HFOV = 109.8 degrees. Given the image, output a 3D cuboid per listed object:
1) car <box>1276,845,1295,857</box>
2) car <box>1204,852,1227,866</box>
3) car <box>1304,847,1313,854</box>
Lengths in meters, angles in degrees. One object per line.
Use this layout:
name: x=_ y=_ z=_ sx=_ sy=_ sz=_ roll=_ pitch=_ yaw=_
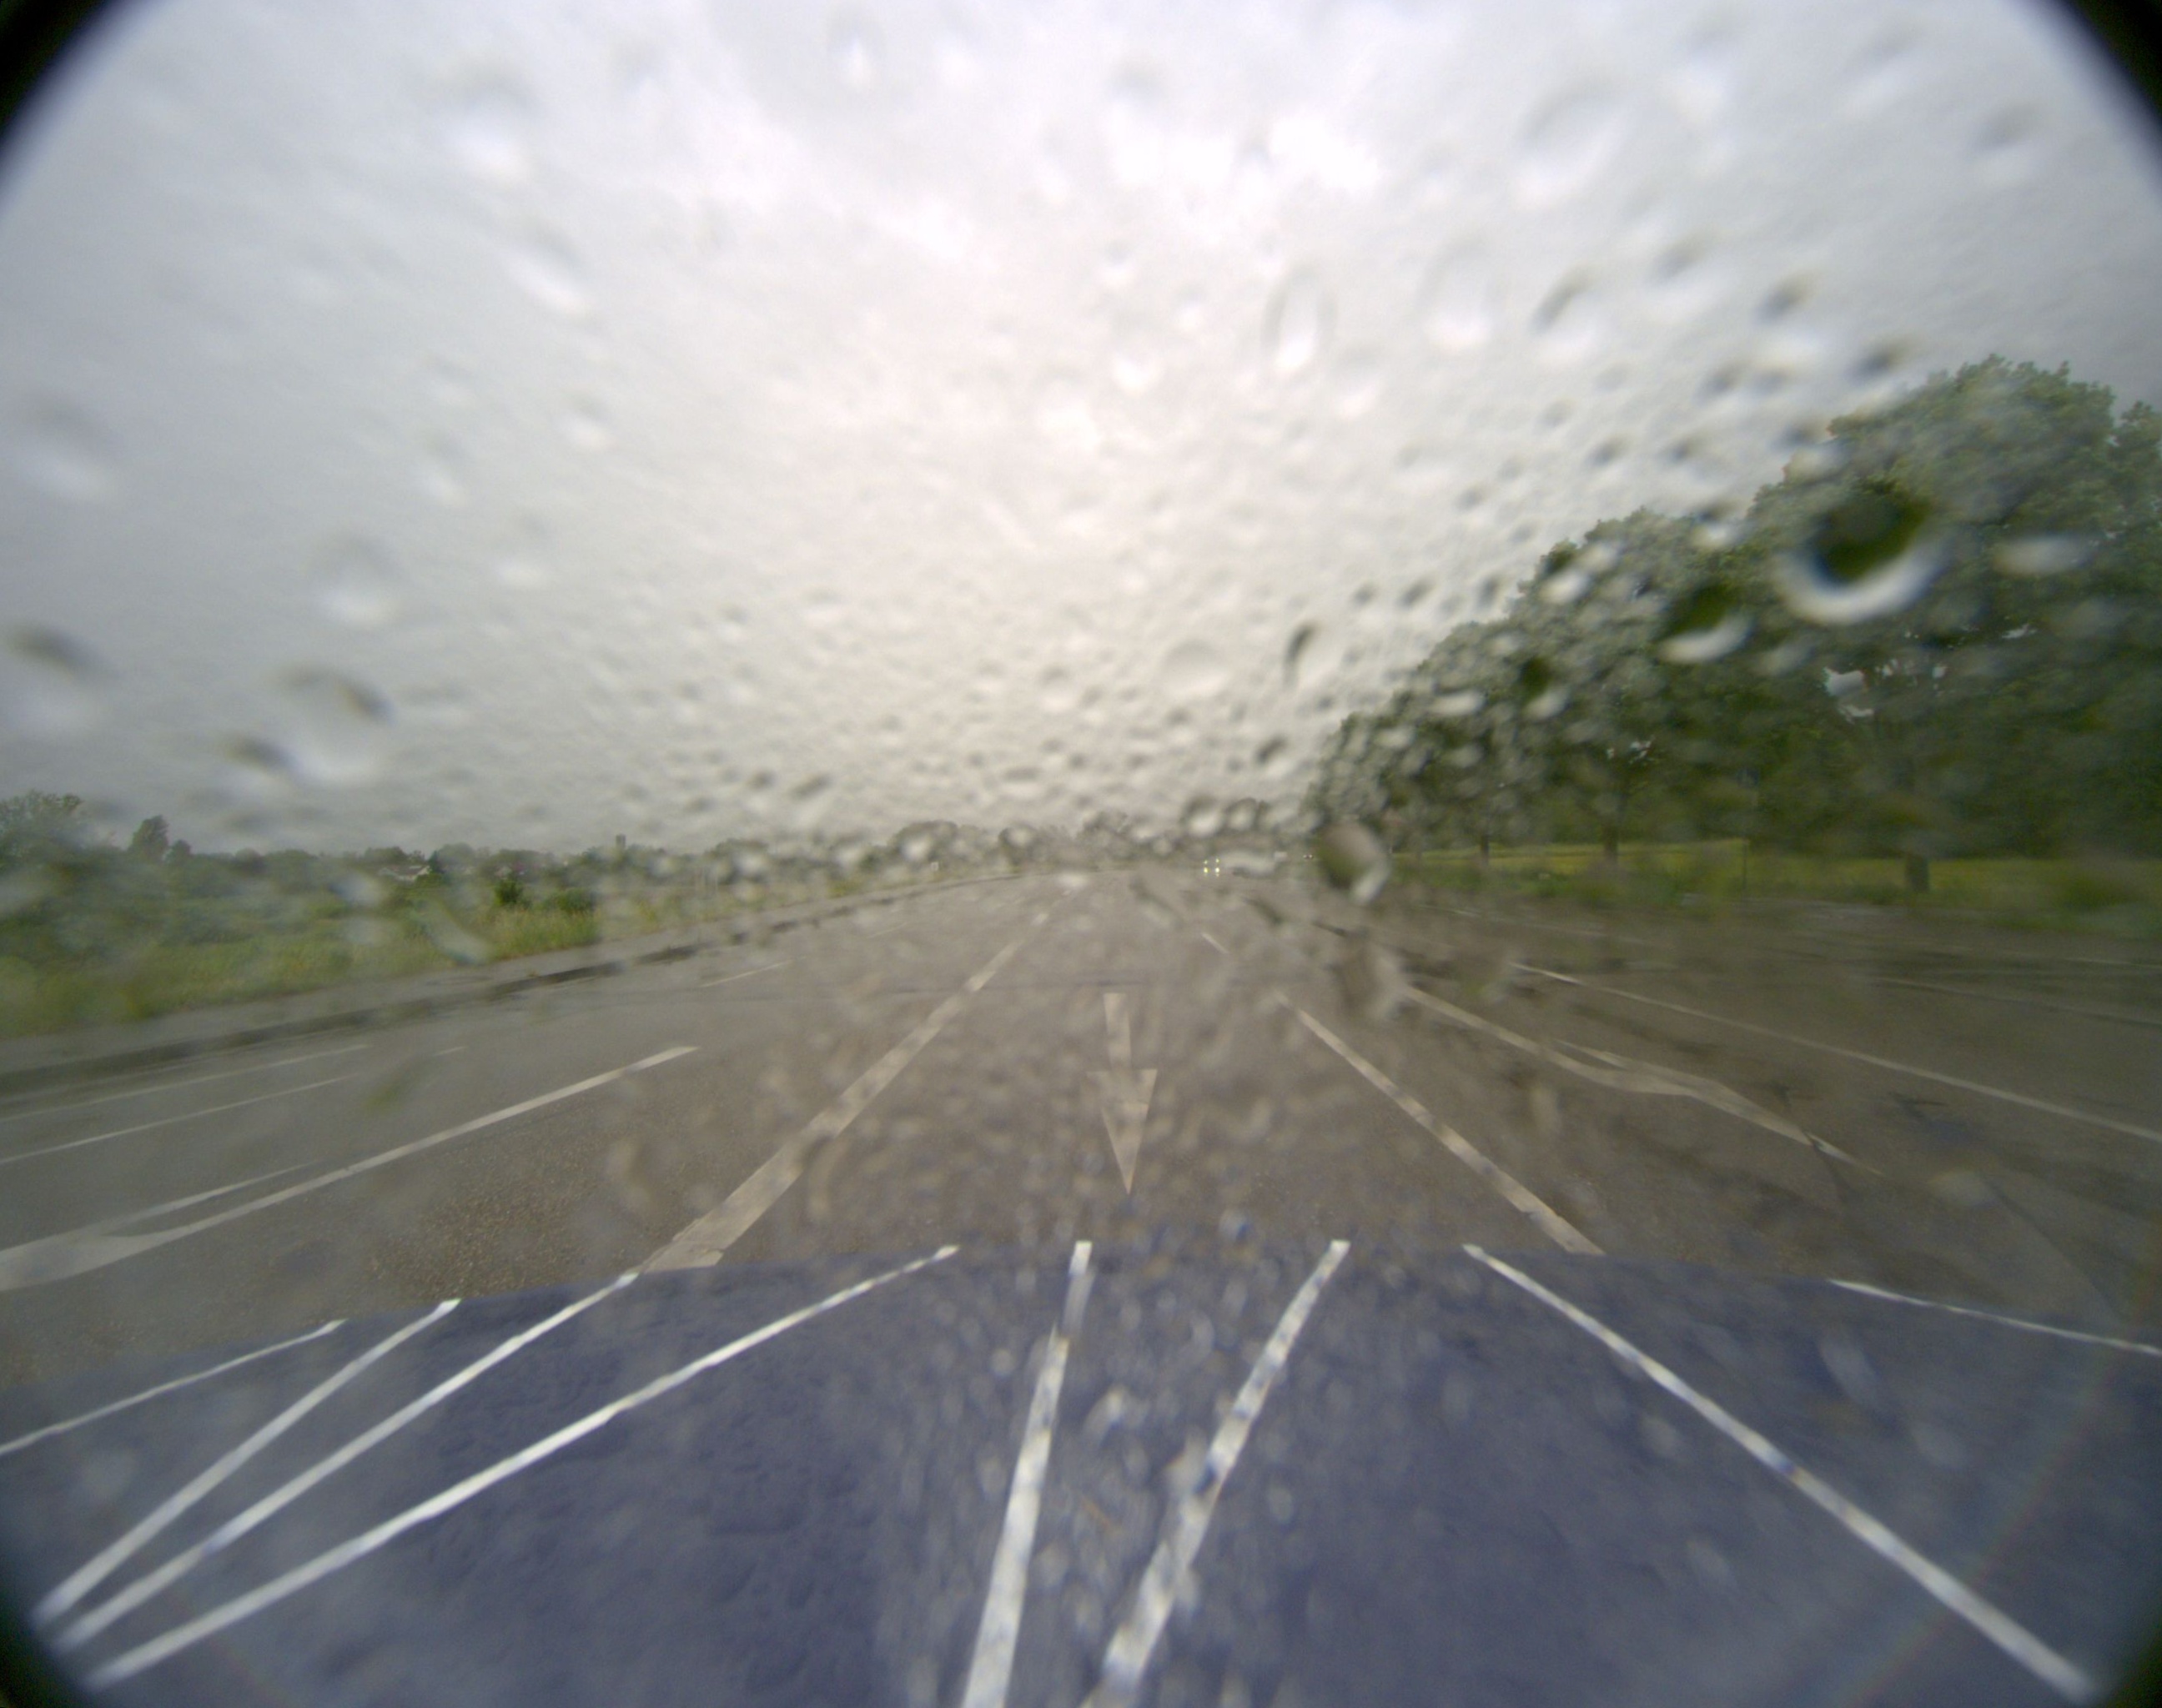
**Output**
car: x=33.543 y=-0.497 z=124.347 sx=2.108 sy=1.881 sz=4.799 roll=-1 pitch=1 yaw=26
car: x=17.058 y=0.610 z=96.333 sx=1.913 sy=1.576 sz=4.109 roll=-1 pitch=1 yaw=23
car: x=61.234 y=-0.941 z=204.379 sx=1.913 sy=1.678 sz=4.109 roll=-1 pitch=1 yaw=24
